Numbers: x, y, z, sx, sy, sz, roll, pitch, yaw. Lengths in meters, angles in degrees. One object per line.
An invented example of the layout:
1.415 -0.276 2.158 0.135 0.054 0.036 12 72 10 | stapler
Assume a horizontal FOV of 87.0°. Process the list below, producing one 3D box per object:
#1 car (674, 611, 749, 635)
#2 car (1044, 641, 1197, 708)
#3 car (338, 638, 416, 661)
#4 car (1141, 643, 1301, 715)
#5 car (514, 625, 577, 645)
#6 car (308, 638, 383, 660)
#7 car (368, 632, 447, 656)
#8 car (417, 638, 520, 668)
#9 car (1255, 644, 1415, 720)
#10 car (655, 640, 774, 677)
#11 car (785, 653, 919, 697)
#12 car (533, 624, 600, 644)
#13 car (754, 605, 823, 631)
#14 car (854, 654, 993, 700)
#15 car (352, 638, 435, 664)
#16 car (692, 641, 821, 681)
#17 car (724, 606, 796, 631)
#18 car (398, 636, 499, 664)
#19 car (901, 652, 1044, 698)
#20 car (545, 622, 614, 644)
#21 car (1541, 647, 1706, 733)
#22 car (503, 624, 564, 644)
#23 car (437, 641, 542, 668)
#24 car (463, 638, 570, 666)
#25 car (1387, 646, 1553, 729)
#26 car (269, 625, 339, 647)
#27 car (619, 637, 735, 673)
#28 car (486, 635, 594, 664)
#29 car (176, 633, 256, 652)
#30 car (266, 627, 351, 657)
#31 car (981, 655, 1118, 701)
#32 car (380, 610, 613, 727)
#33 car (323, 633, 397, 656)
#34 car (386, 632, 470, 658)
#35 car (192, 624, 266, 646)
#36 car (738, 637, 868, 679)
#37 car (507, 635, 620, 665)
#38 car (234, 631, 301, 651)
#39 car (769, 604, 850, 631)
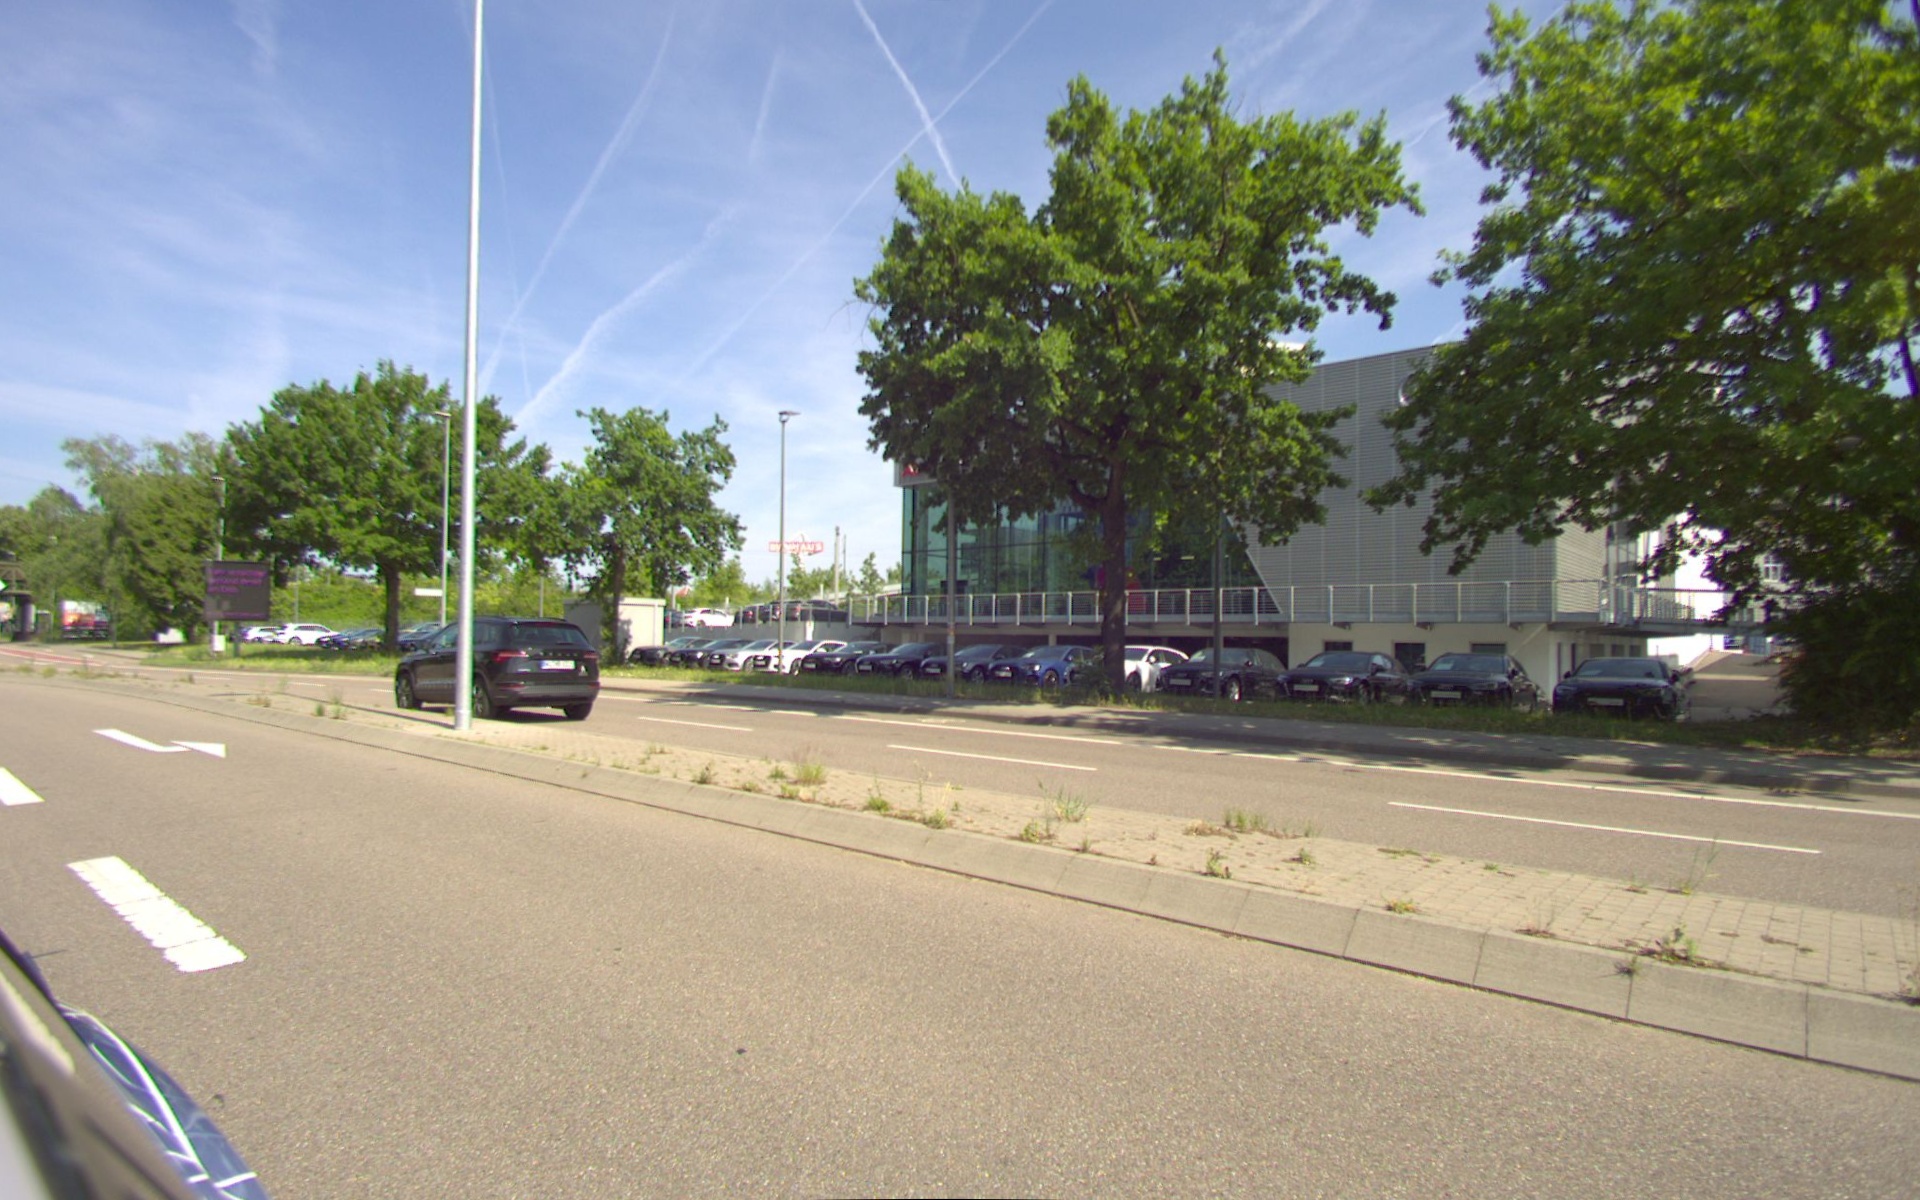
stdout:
-16.186 1.531 66.131 1.978 1.496 4.455 -1 -3 39 | car
4.118 1.893 25.538 1.999 1.453 3.945 -2 -7 41 | car
-35.509 3.016 61.694 1.661 1.295 3.705 -1 -5 39 | car
6.267 1.906 24.003 1.999 1.453 4.203 -2 -7 41 | car
-32.499 2.723 79.342 1.997 1.488 4.162 -1 -2 37 | car
-39.488 3.124 65.094 1.743 1.295 3.754 -1 -2 39 | car
-31.869 2.550 58.435 1.863 1.295 3.558 -1 -5 39 | car
-25.845 2.773 53.319 1.917 1.487 4.455 -1 -3 39 | car
8.415 1.854 22.490 1.999 1.453 4.096 -2 -7 41 | car
-9.119 2.197 37.772 1.895 1.165 3.948 -2 -6 39 | car
-3.416 2.453 32.715 1.953 1.199 4.132 -2 -6 39 | car
-30.162 2.581 77.676 1.889 1.429 4.455 -1 -2 39 | car
-10.264 1.106 60.760 1.667 1.507 3.946 -2 -2 40 | car
-1.028 2.343 30.576 1.953 1.199 4.132 -2 -6 39 | car
-33.499 3.032 59.912 1.838 1.351 3.848 -1 -5 39 | car
-7.228 2.204 36.286 2.085 1.165 4.132 -2 -6 39 | car
-12.353 1.145 62.589 2.050 1.507 3.946 -2 -2 40 | car
-27.744 2.714 54.982 1.978 1.487 4.455 -1 -3 39 | car
0.430 2.175 29.052 1.953 1.086 4.132 -2 -6 39 | car
-28.388 2.484 75.674 1.978 1.496 4.455 -1 -3 39 | car
12.305 1.690 18.676 1.999 1.369 3.945 -2 -7 41 | car
-34.224 2.708 81.282 1.997 1.488 4.162 -1 -2 37 | car
-23.884 2.758 51.457 1.917 1.300 4.455 -1 -3 39 | car
-21.720 2.553 49.712 1.917 1.300 4.455 -1 -3 39 | car
10.402 1.816 20.485 2.050 1.453 4.260 -1 -7 40 | car
-47.172 2.558 72.815 1.848 1.497 3.942 -2 -2 44 | car
-10.999 2.174 39.496 1.895 1.165 3.948 -2 -6 39 | car
-19.813 2.352 47.916 1.690 1.300 4.455 -1 -3 39 | car
-57.123 3.242 77.784 1.999 1.400 4.638 -2 -2 40 | car
-43.972 2.824 68.369 1.999 1.889 4.415 -2 -2 42 | car
2.489 2.117 27.205 1.695 1.042 4.067 -2 -6 39 | car
-7.474 1.060 16.151 4.207 1.631 1.720 -2 -6 41 | car
-37.522 2.776 63.310 1.743 1.295 3.558 -1 -5 39 | car
-29.741 2.527 56.663 1.983 1.295 3.643 -1 -5 39 | car
-54.769 2.626 75.912 1.999 1.558 4.170 -2 -2 41 | car
-5.304 2.016 34.597 1.953 1.199 4.132 -2 -6 39 | car
-18.170 2.274 46.523 2.002 1.300 4.455 -1 -3 39 | car
-49.999 2.927 73.081 1.815 1.381 3.642 -2 -2 41 | car
-8.676 1.031 58.654 1.985 1.507 4.473 -2 -2 40 | car
